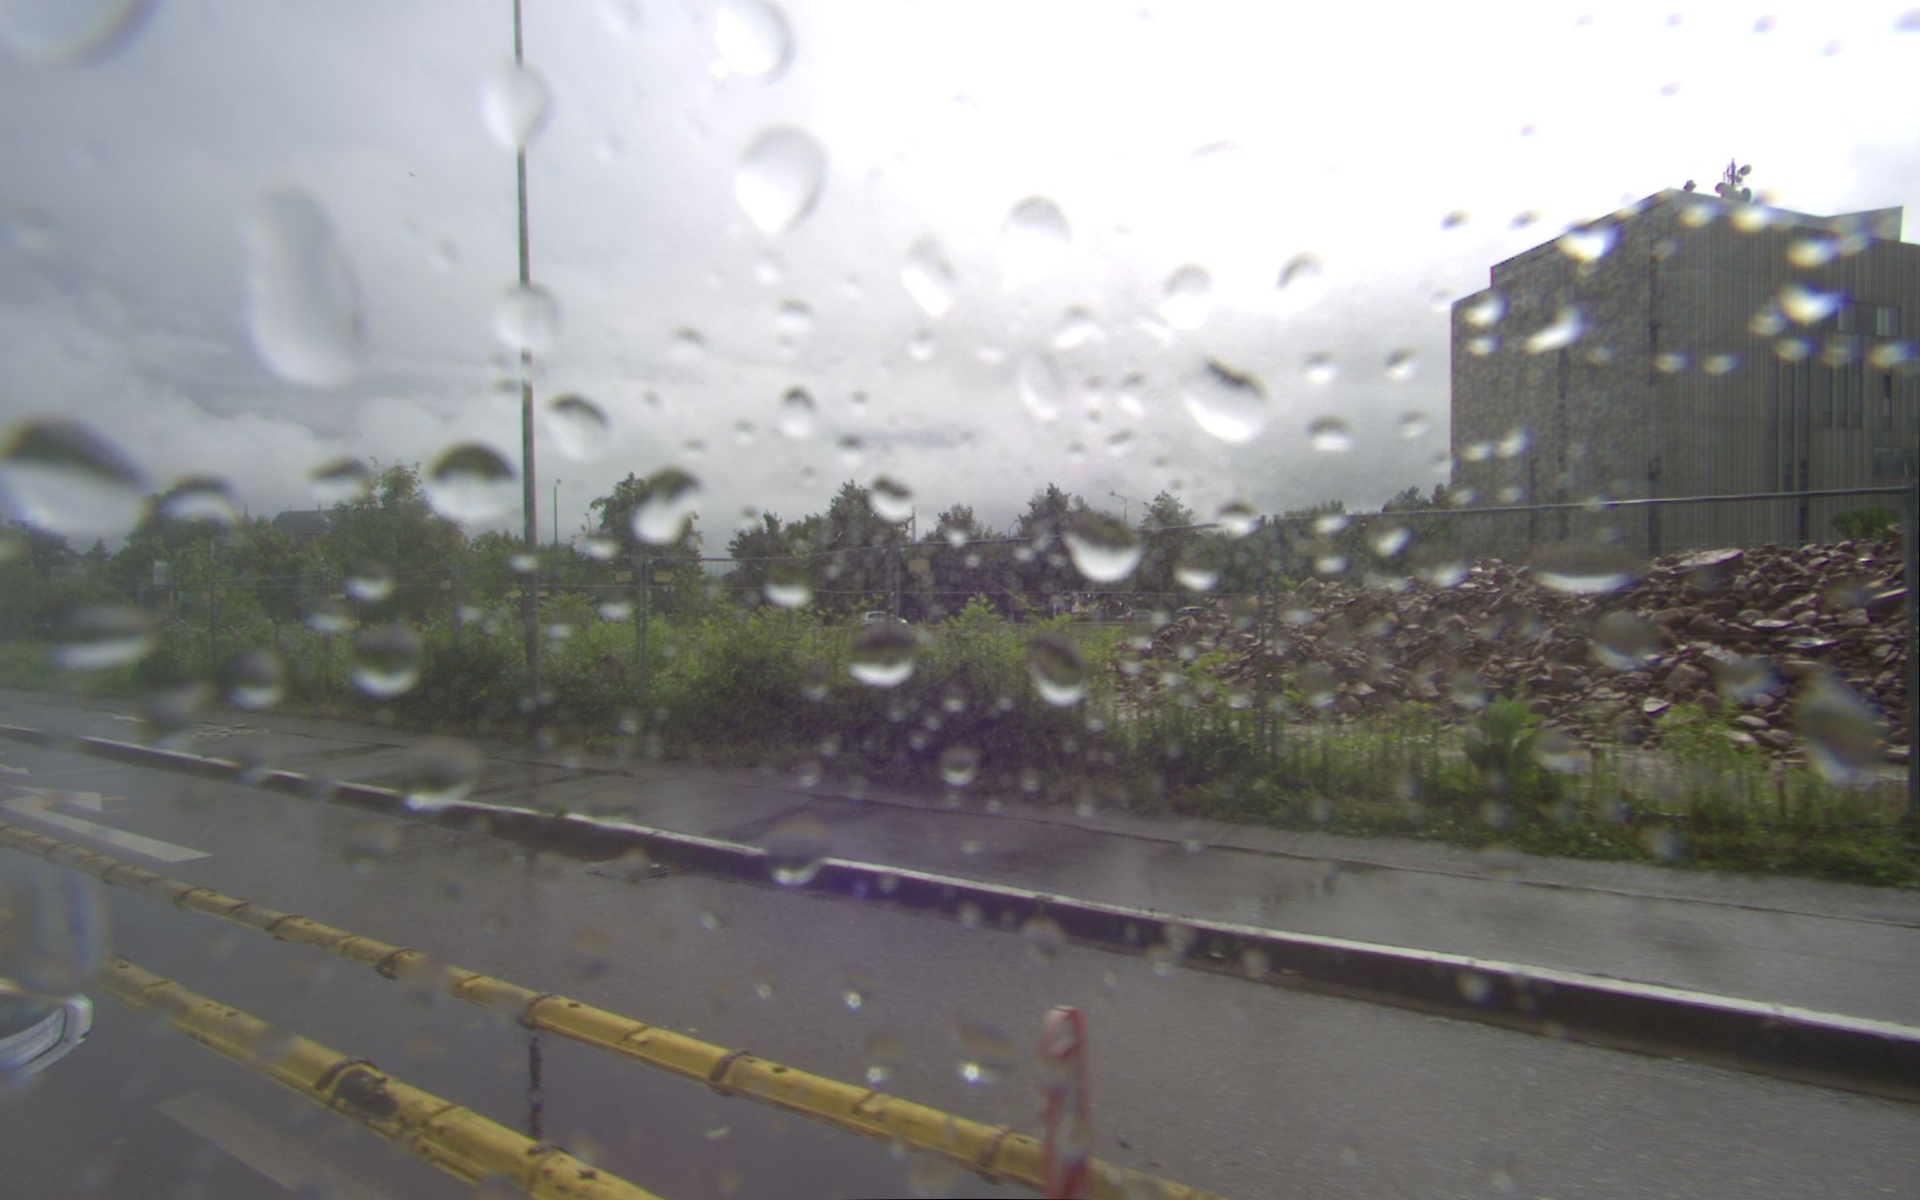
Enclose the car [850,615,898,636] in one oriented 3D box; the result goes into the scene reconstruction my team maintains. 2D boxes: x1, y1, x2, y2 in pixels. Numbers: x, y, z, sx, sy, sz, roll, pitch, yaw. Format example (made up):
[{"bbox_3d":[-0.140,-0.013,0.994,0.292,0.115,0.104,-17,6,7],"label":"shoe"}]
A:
[{"bbox_3d":[-6.656,1.947,77.112,3.466,1.567,1.628,0,0,-15],"label":"car"}]
